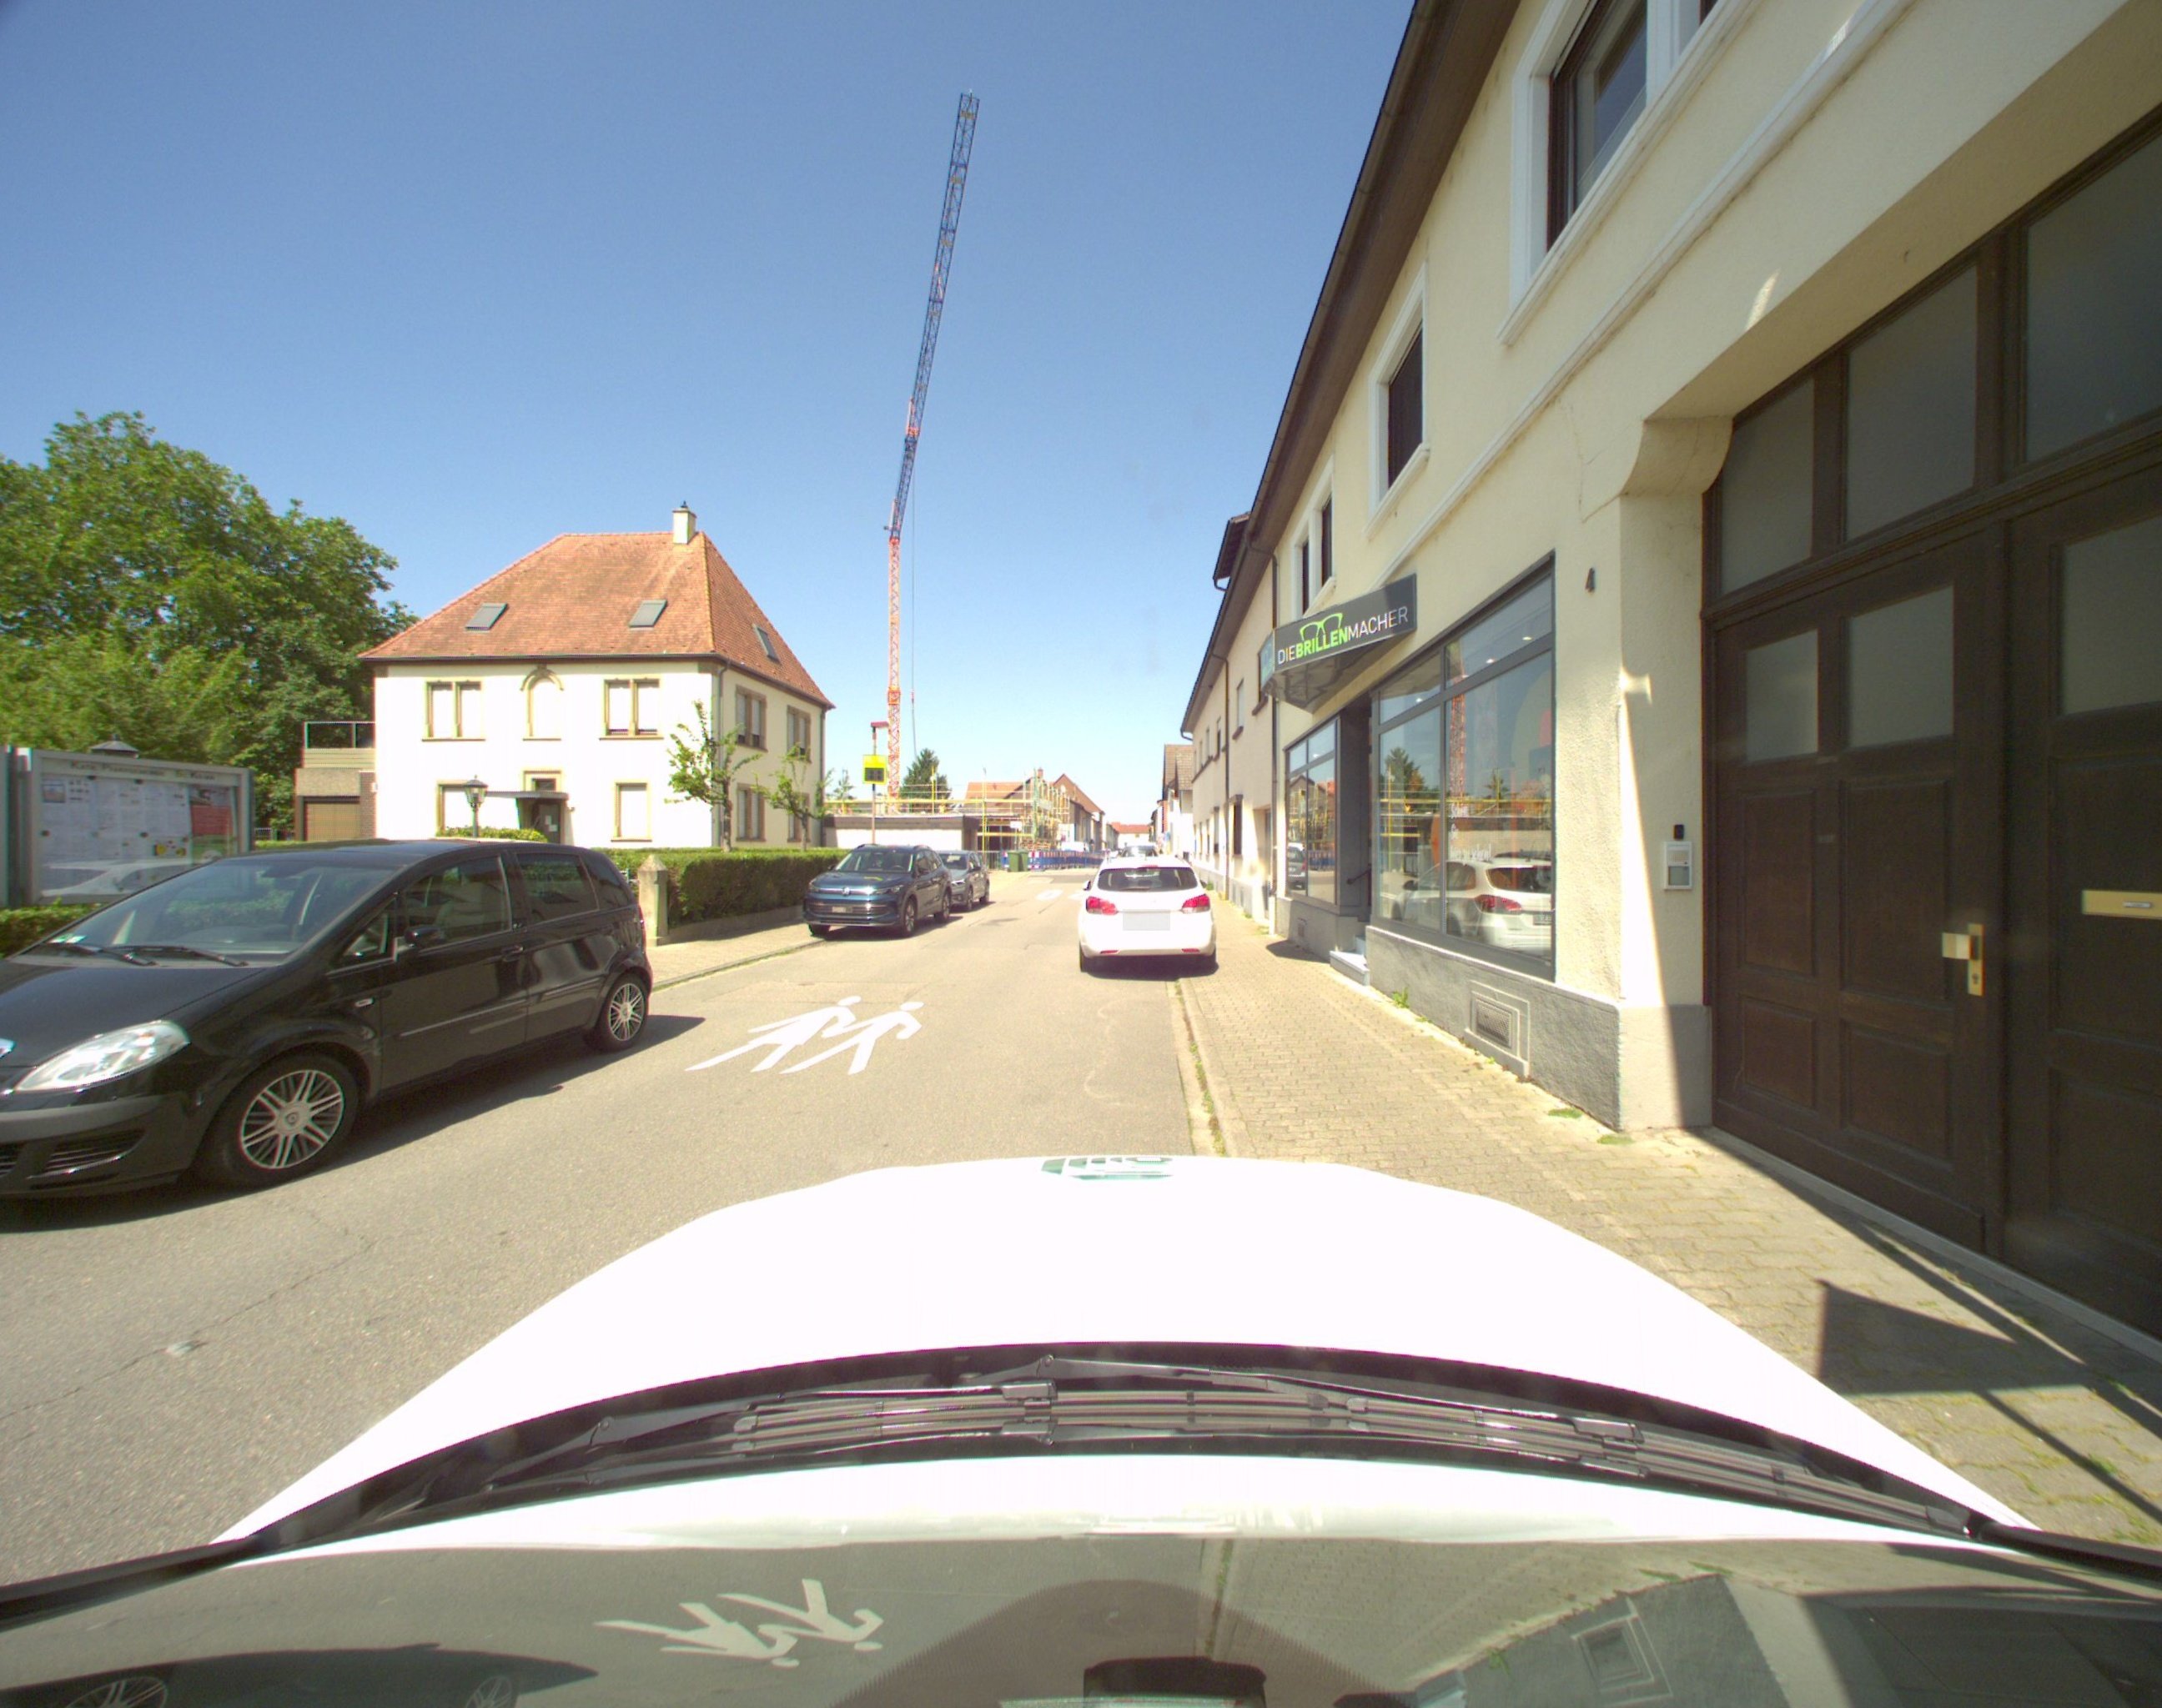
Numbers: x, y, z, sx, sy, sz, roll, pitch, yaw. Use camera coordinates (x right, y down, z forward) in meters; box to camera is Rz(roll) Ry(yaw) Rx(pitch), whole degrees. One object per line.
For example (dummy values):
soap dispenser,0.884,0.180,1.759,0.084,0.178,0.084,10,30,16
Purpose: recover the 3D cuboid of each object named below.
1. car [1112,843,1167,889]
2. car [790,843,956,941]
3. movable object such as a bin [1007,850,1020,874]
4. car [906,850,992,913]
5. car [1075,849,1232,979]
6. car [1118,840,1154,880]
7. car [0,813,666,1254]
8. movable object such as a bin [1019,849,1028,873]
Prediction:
car,2.214,0.421,31.660,1.878,1.556,3.895,-4,1,1
car,-3.840,0.626,15.837,1.818,1.630,4.223,0,0,5
movable object such as a bin,-3.377,0.392,40.535,0.620,1.155,0.676,0,0,-3
car,-3.340,0.647,21.237,1.430,1.474,3.789,-1,0,3
car,0.854,0.704,11.874,1.881,1.542,4.241,0,0,-1
car,2.497,0.216,36.838,1.557,1.613,3.547,0,3,4
car,-4.391,0.645,4.928,1.630,1.628,3.772,0,1,3
movable object such as a bin,-2.887,0.350,40.988,0.431,1.155,0.364,0,0,-6
